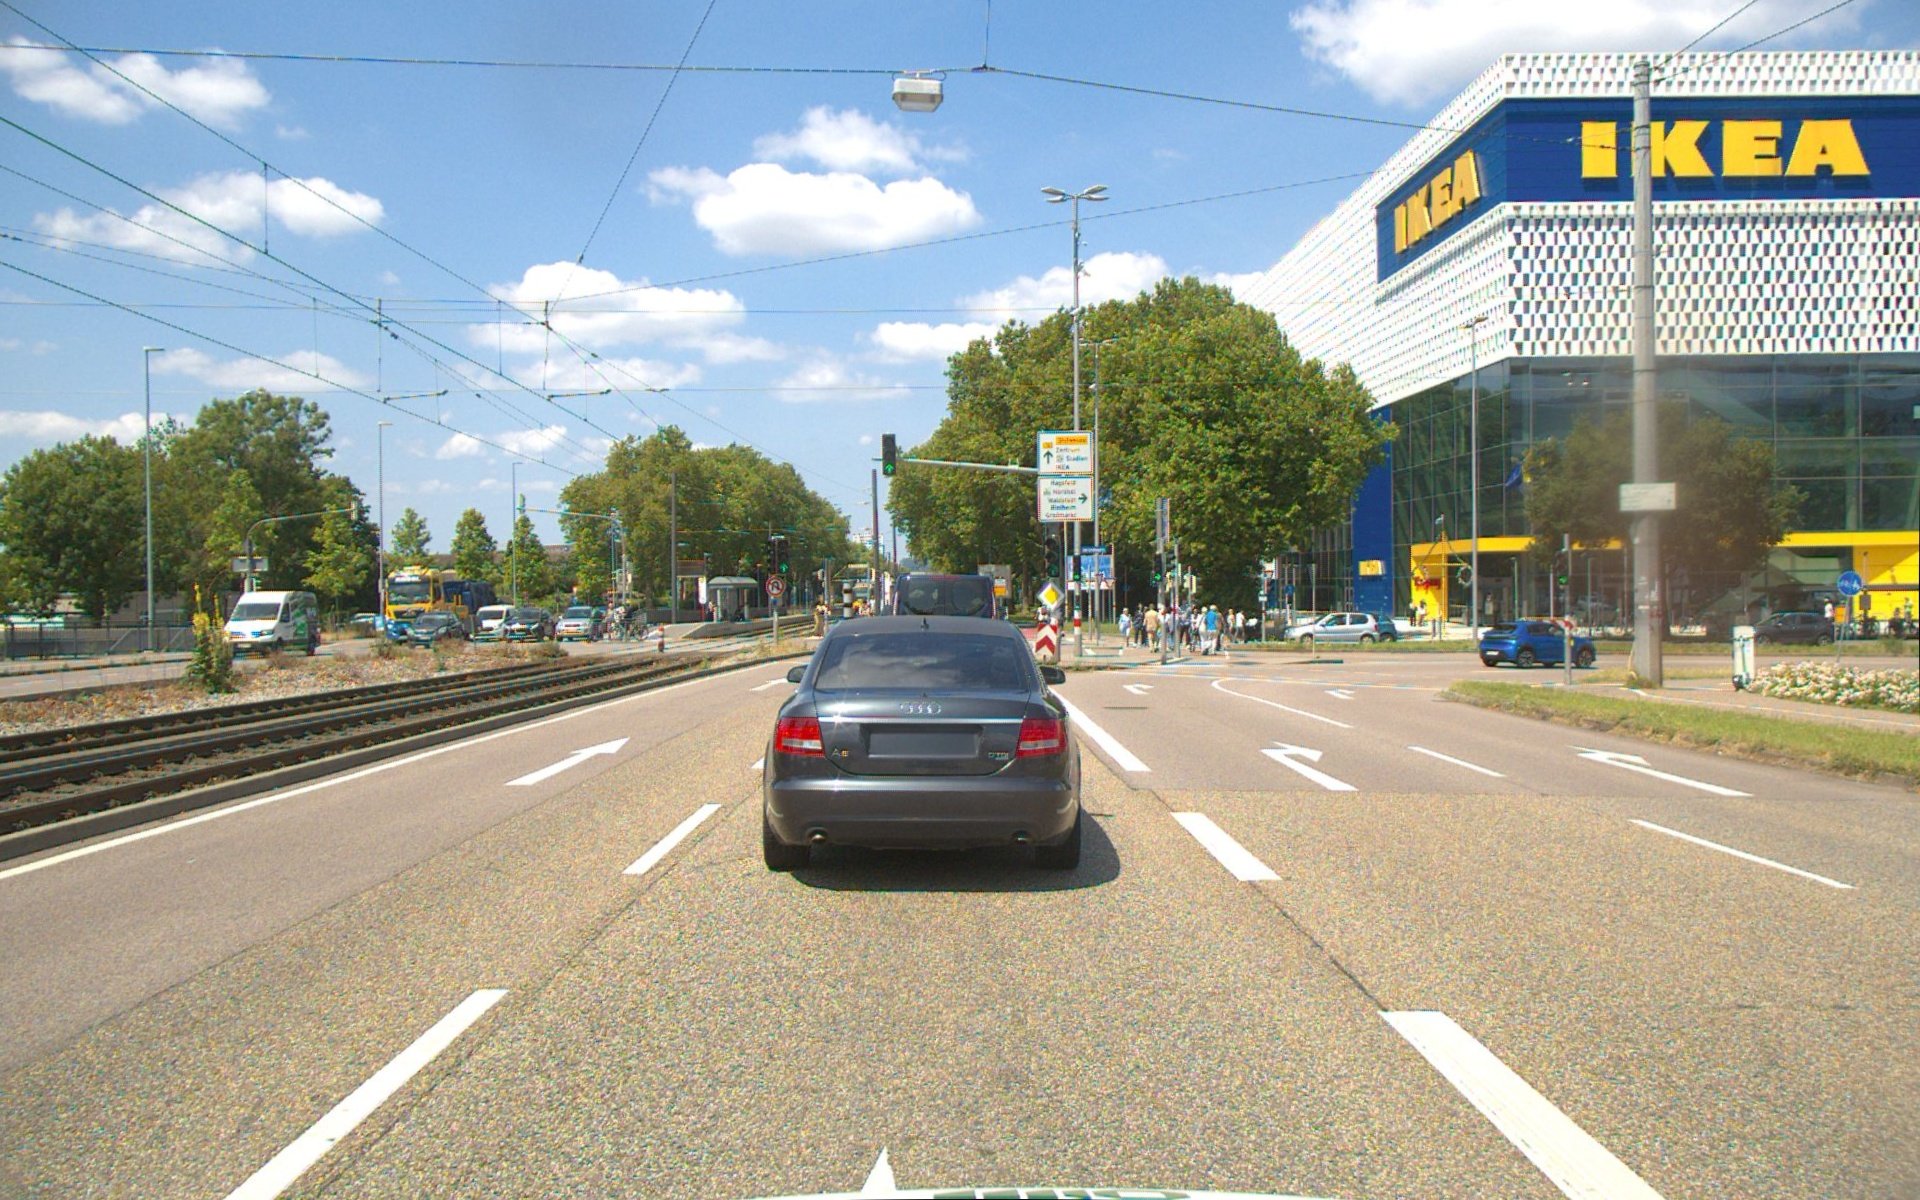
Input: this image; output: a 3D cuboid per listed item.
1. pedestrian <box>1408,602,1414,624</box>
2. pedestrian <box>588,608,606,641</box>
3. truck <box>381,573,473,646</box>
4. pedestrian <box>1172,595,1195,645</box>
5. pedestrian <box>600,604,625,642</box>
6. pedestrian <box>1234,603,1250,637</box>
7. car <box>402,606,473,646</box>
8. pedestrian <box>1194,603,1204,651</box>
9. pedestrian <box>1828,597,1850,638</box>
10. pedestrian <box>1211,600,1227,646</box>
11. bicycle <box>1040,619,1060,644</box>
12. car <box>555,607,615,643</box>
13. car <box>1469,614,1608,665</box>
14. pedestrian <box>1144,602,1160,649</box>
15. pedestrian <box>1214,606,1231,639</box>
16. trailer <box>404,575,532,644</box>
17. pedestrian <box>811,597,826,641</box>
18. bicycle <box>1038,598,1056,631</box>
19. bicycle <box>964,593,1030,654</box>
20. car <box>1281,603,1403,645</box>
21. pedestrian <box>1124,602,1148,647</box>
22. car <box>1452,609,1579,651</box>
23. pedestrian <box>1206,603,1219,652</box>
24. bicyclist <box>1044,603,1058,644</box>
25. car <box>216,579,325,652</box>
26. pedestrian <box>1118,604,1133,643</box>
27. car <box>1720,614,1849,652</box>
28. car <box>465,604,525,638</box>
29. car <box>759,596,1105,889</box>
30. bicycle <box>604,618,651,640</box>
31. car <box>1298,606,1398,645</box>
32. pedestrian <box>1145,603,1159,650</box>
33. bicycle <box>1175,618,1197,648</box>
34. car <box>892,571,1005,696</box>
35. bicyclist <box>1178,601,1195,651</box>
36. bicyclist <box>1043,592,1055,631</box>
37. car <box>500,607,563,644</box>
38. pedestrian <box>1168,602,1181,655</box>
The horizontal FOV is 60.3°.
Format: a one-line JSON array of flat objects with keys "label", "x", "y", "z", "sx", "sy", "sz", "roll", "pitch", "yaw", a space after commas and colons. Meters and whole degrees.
[{"label": "pedestrian", "x": 28.120, "y": 0.832, "z": 103.194, "sx": 0.283, "sy": 1.366, "sz": 0.266, "roll": 0, "pitch": -1, "yaw": -1}, {"label": "pedestrian", "x": -16.312, "y": 1.096, "z": 74.341, "sx": 0.671, "sy": 1.469, "sz": 0.572, "roll": 0, "pitch": -1, "yaw": -4}, {"label": "truck", "x": -27.434, "y": 0.496, "z": 85.381, "sx": 2.711, "sy": 3.631, "sz": 6.438, "roll": 0, "pitch": 0, "yaw": -1}, {"label": "pedestrian", "x": 8.512, "y": 0.772, "z": 62.979, "sx": 0.671, "sy": 1.878, "sz": 0.706, "roll": 0, "pitch": 0, "yaw": 25}, {"label": "pedestrian", "x": -16.241, "y": 1.068, "z": 77.322, "sx": 0.806, "sy": 1.750, "sz": 0.775, "roll": 0, "pitch": -1, "yaw": 21}, {"label": "pedestrian", "x": 13.792, "y": 0.987, "z": 80.918, "sx": 0.690, "sy": 1.664, "sz": 0.612, "roll": 0, "pitch": 0, "yaw": 18}, {"label": "car", "x": -23.453, "y": 1.132, "z": 74.380, "sx": 1.785, "sy": 1.699, "sz": 4.460, "roll": 1, "pitch": 0, "yaw": -1}, {"label": "pedestrian", "x": 8.296, "y": 0.940, "z": 57.364, "sx": 0.314, "sy": 1.664, "sz": 0.377, "roll": 0, "pitch": 0, "yaw": 2}, {"label": "pedestrian", "x": 44.891, "y": 0.897, "z": 84.501, "sx": 0.696, "sy": 2.049, "sz": 0.824, "roll": 1, "pitch": 0, "yaw": 1}, {"label": "pedestrian", "x": 9.710, "y": 0.853, "z": 62.055, "sx": 0.510, "sy": 1.699, "sz": 0.494, "roll": 0, "pitch": 0, "yaw": 2}, {"label": "bicycle", "x": 3.756, "y": 1.310, "z": 69.339, "sx": 0.673, "sy": 1.023, "sz": 2.751, "roll": 1, "pitch": 0, "yaw": 0}, {"label": "car", "x": -18.365, "y": 1.200, "z": 81.203, "sx": 1.784, "sy": 1.699, "sz": 4.462, "roll": 1, "pitch": 0, "yaw": 2}, {"label": "car", "x": 18.445, "y": 1.258, "z": 52.751, "sx": 3.928, "sy": 1.480, "sz": 1.833, "roll": 2, "pitch": 0, "yaw": -20}, {"label": "pedestrian", "x": 6.879, "y": 0.906, "z": 59.194, "sx": 0.542, "sy": 1.664, "sz": 0.433, "roll": 0, "pitch": 0, "yaw": 2}, {"label": "pedestrian", "x": 12.887, "y": 1.102, "z": 81.221, "sx": 0.690, "sy": 1.572, "sz": 0.678, "roll": 0, "pitch": 0, "yaw": 18}, {"label": "trailer", "x": -27.564, "y": 0.533, "z": 93.682, "sx": 2.711, "sy": 3.580, "sz": 15.874, "roll": 0, "pitch": 0, "yaw": -1}, {"label": "pedestrian", "x": -6.590, "y": 0.883, "z": 76.918, "sx": 0.672, "sy": 2.049, "sz": 0.572, "roll": 0, "pitch": -1, "yaw": -5}, {"label": "bicycle", "x": 4.139, "y": 0.676, "z": 78.517, "sx": 0.673, "sy": 1.545, "sz": 2.751, "roll": 1, "pitch": 0, "yaw": 0}, {"label": "bicycle", "x": 1.329, "y": 0.811, "z": 58.078, "sx": 1.951, "sy": 2.049, "sz": 4.003, "roll": 0, "pitch": 0, "yaw": 6}, {"label": "car", "x": 15.111, "y": 0.931, "z": 65.643, "sx": 4.403, "sy": 1.512, "sz": 2.001, "roll": 2, "pitch": 0, "yaw": 3}, {"label": "pedestrian", "x": 6.713, "y": 0.926, "z": 62.991, "sx": 0.699, "sy": 1.664, "sz": 0.706, "roll": 0, "pitch": 0, "yaw": 25}, {"label": "car", "x": 22.089, "y": 1.183, "z": 65.865, "sx": 4.403, "sy": 1.512, "sz": 2.001, "roll": 2, "pitch": 0, "yaw": 3}, {"label": "pedestrian", "x": 8.704, "y": 0.938, "z": 56.997, "sx": 0.389, "sy": 1.664, "sz": 0.371, "roll": 0, "pitch": 0, "yaw": 2}, {"label": "bicyclist", "x": 3.826, "y": 0.966, "z": 69.368, "sx": 0.518, "sy": 1.705, "sz": 1.088, "roll": 0, "pitch": -1, "yaw": -1}, {"label": "car", "x": -27.149, "y": 0.573, "z": 65.384, "sx": 2.200, "sy": 2.634, "sz": 6.226, "roll": -2, "pitch": 0, "yaw": -6}, {"label": "pedestrian", "x": 6.607, "y": 0.917, "z": 65.961, "sx": 0.483, "sy": 1.546, "sz": 0.707, "roll": 0, "pitch": 0, "yaw": 17}, {"label": "car", "x": 34.495, "y": 1.381, "z": 69.292, "sx": 4.403, "sy": 1.512, "sz": 2.001, "roll": 0, "pitch": 0, "yaw": 3}, {"label": "car", "x": -24.356, "y": 1.090, "z": 86.766, "sx": 1.785, "sy": 1.699, "sz": 4.461, "roll": 1, "pitch": 0, "yaw": 1}, {"label": "car", "x": -0.161, "y": 0.719, "z": 10.423, "sx": 1.756, "sy": 1.480, "sz": 3.999, "roll": 0, "pitch": 0, "yaw": -1}, {"label": "bicycle", "x": -14.738, "y": 1.284, "z": 73.341, "sx": 2.019, "sy": 0.941, "sz": 0.751, "roll": 1, "pitch": 0, "yaw": -11}, {"label": "car", "x": 16.148, "y": 1.047, "z": 68.943, "sx": 3.710, "sy": 1.512, "sz": 2.001, "roll": 2, "pitch": 0, "yaw": 3}, {"label": "pedestrian", "x": 6.865, "y": 0.933, "z": 59.198, "sx": 0.435, "sy": 1.664, "sz": 0.430, "roll": 0, "pitch": 0, "yaw": 2}, {"label": "bicycle", "x": 8.217, "y": 1.178, "z": 60.044, "sx": 0.645, "sy": 1.040, "sz": 1.863, "roll": 0, "pitch": 0, "yaw": 13}, {"label": "car", "x": -0.211, "y": 0.551, "z": 28.379, "sx": 1.799, "sy": 1.984, "sz": 3.999, "roll": 0, "pitch": -1, "yaw": -1}, {"label": "bicyclist", "x": 8.231, "y": 0.941, "z": 60.121, "sx": 0.517, "sy": 1.795, "sz": 0.828, "roll": 0, "pitch": -1, "yaw": 13}, {"label": "bicyclist", "x": 4.222, "y": 0.529, "z": 78.323, "sx": 0.518, "sy": 1.820, "sz": 1.088, "roll": 0, "pitch": -1, "yaw": -1}, {"label": "car", "x": -21.167, "y": 1.246, "z": 81.937, "sx": 1.784, "sy": 1.699, "sz": 4.462, "roll": 1, "pitch": 0, "yaw": 2}, {"label": "pedestrian", "x": 6.871, "y": 0.912, "z": 52.884, "sx": 0.373, "sy": 1.664, "sz": 0.377, "roll": 0, "pitch": 0, "yaw": 2}]
